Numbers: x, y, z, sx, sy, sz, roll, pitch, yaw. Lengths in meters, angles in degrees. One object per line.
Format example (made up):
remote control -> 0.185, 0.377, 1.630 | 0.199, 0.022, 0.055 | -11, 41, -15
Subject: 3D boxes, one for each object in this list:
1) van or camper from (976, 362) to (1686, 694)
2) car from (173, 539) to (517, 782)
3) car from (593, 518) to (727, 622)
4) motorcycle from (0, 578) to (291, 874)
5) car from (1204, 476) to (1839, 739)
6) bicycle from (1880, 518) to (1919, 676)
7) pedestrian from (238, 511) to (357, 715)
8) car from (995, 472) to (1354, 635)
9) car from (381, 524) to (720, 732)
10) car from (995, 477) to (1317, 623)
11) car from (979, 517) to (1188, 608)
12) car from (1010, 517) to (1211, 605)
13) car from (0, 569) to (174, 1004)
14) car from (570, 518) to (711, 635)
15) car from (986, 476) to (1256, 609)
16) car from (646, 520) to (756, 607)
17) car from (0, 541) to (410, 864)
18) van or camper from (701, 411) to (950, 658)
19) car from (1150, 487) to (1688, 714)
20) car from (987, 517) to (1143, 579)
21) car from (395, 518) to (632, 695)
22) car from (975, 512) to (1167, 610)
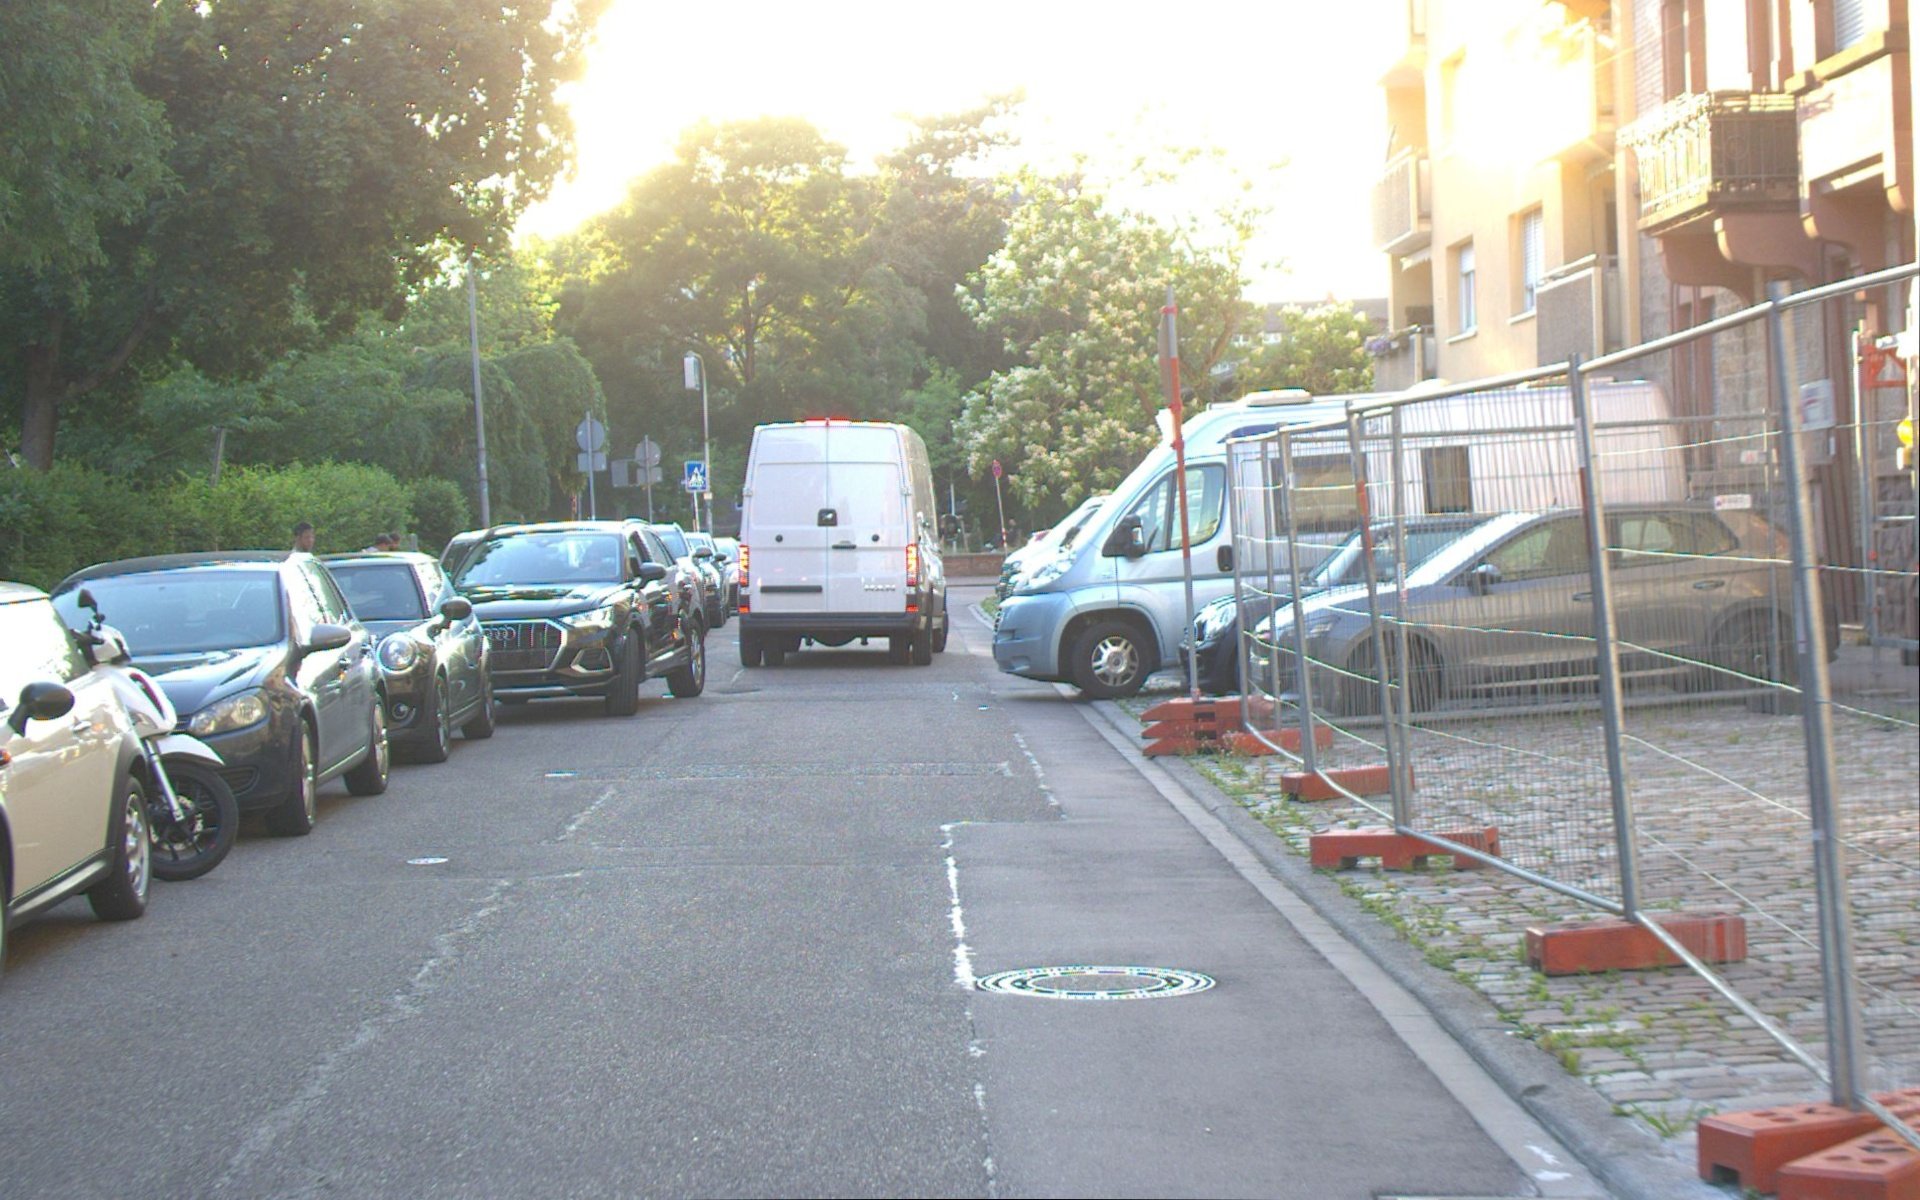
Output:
van or camper -> 3.148, -0.631, 30.101 | 5.928, 2.760, 2.110 | 0, 1, -2
car -> -4.240, 0.355, 24.256 | 1.637, 1.473, 3.993 | -3, 1, 0
car -> -4.853, -0.516, 56.056 | 1.993, 1.612, 4.001 | -1, 1, -3
motorcycle -> -4.289, 0.562, 15.897 | 2.165, 1.299, 0.879 | 0, 1, 13
car -> 3.920, 0.024, 24.440 | 3.986, 1.510, 2.020 | -4, 1, -5
bicycle -> 7.423, -0.019, 25.106 | 0.630, 1.164, 2.035 | -1, 1, -7
pedestrian -> -6.016, 0.112, 31.243 | 0.937, 1.824, 0.787 | -1, 1, -2
car -> 2.887, -0.647, 47.084 | 4.705, 2.138, 2.000 | -1, 1, -2
car -> -3.351, 0.172, 29.045 | 1.805, 1.564, 4.564 | -2, 1, 6
car -> 2.953, -0.768, 52.507 | 4.705, 2.138, 2.000 | -1, 1, -2
car -> 2.389, -0.743, 67.238 | 3.987, 1.722, 2.000 | -1, 1, 0
car -> 3.045, -0.806, 70.284 | 3.987, 1.722, 2.000 | -1, 1, 0
car -> -4.111, 0.676, 12.676 | 1.601, 1.426, 3.804 | -4, 1, -2
car -> -4.755, -0.375, 51.310 | 1.993, 1.656, 4.001 | -1, 1, -5
car -> 2.734, -0.994, 59.238 | 4.495, 2.223, 2.032 | -1, 1, -1
car -> -4.981, -0.736, 66.545 | 1.993, 1.612, 4.001 | -1, 1, -3
car -> -4.213, 0.472, 19.091 | 1.715, 1.491, 4.361 | -3, 1, -2
van or camper -> -1.396, -0.744, 38.575 | 2.454, 2.538, 6.083 | 0, 1, 1
car -> 3.558, 0.004, 27.181 | 3.935, 1.481, 1.787 | -4, 0, 0
car -> 2.814, -1.418, 92.553 | 3.986, 1.612, 2.000 | -1, 1, -4
car -> -4.577, 0.021, 35.762 | 1.783, 1.625, 4.000 | -4, 1, 1
car -> 2.333, -0.832, 72.931 | 3.987, 2.007, 2.000 | -1, 1, 1
